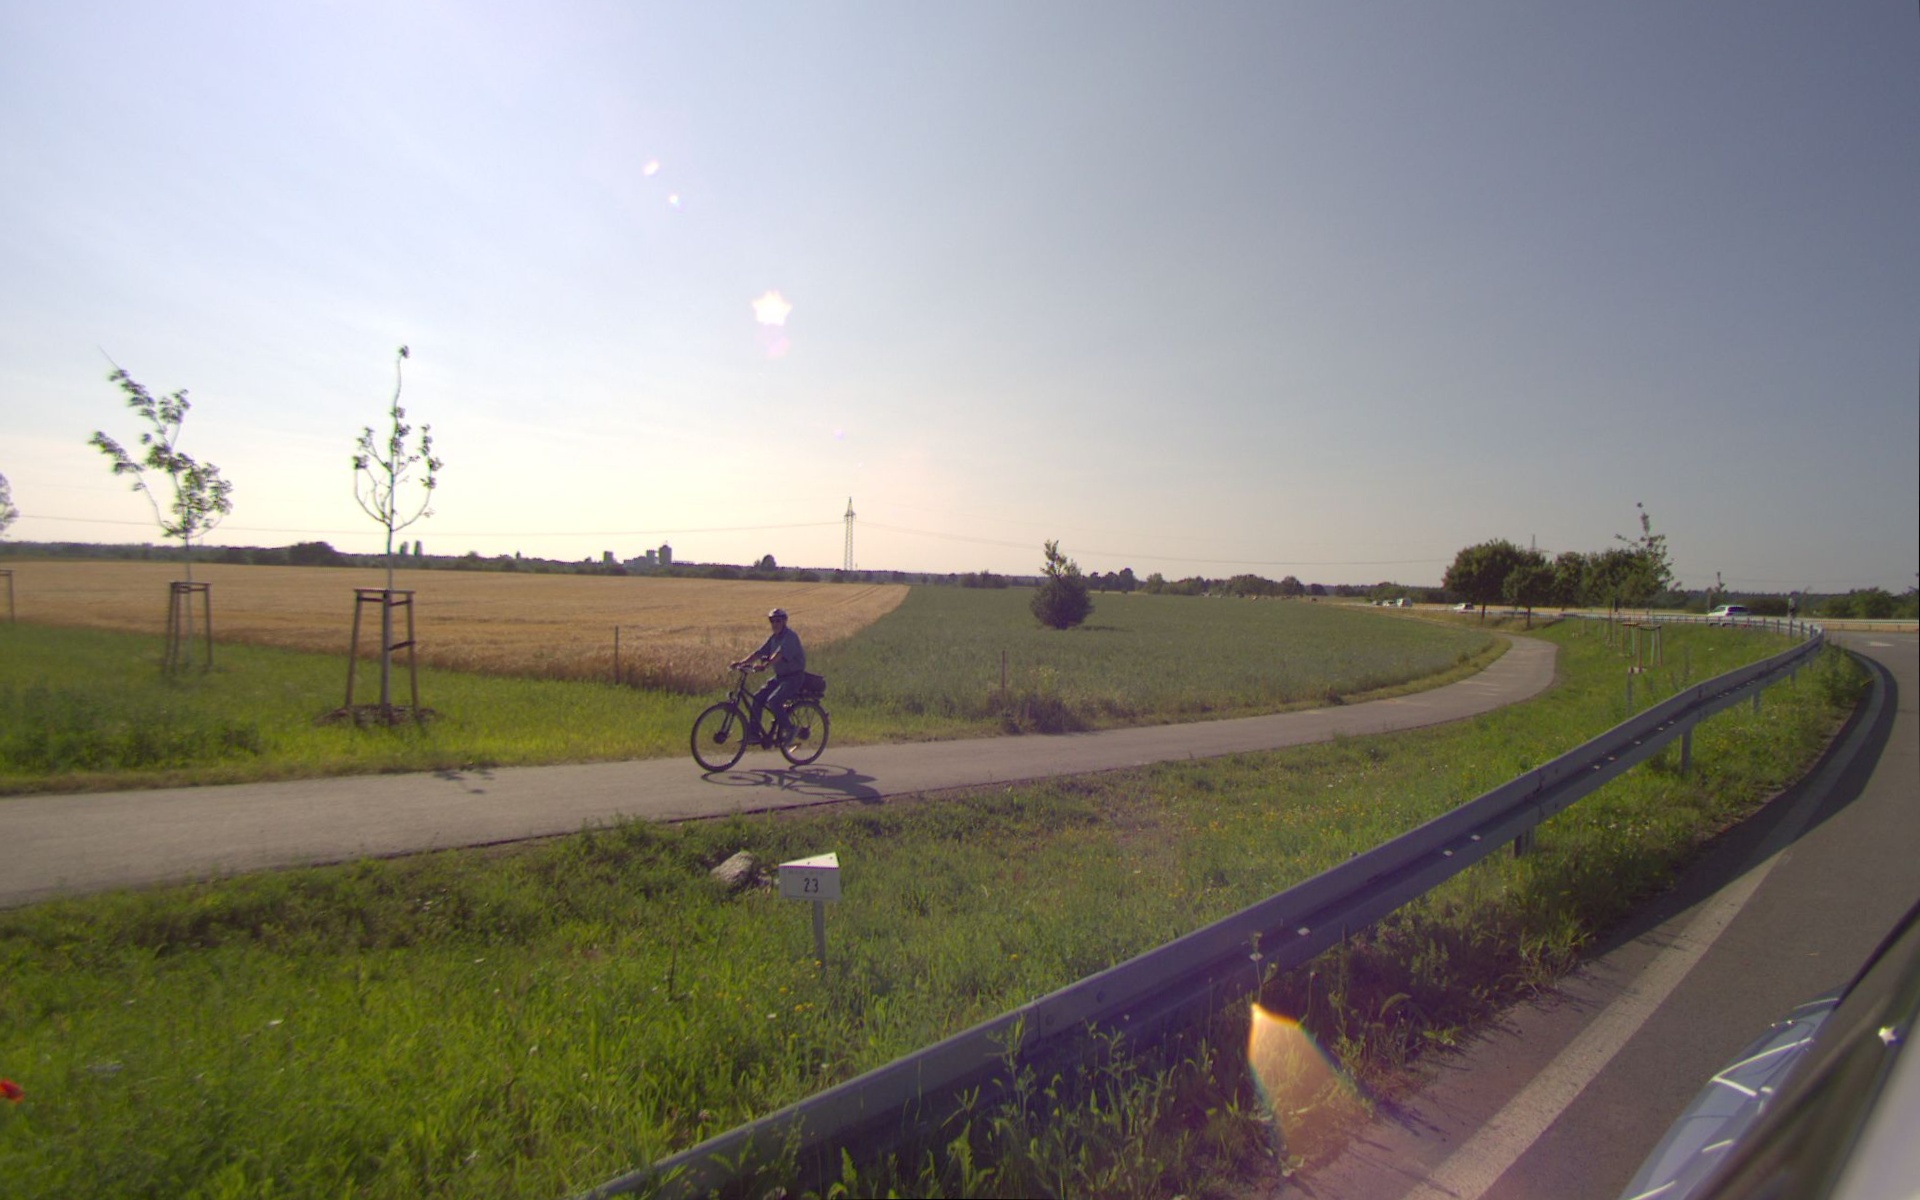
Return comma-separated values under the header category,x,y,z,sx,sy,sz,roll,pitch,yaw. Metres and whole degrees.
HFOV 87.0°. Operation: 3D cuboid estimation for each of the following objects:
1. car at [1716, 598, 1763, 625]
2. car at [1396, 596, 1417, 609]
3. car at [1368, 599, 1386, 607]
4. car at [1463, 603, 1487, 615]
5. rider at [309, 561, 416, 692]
category,x,y,z,sx,sy,sz,roll,pitch,yaw
car,59.701,0.873,77.598,1.678,1.693,4.827,0,3,23
car,79.173,0.411,179.550,2.087,2.040,5.137,1,-2,9
car,80.536,0.562,195.473,1.767,1.467,4.700,1,-2,2
car,76.075,1.328,149.546,2.090,1.512,5.129,0,-2,14
rider,-8.016,0.342,13.621,0.806,1.663,0.991,2,0,1
